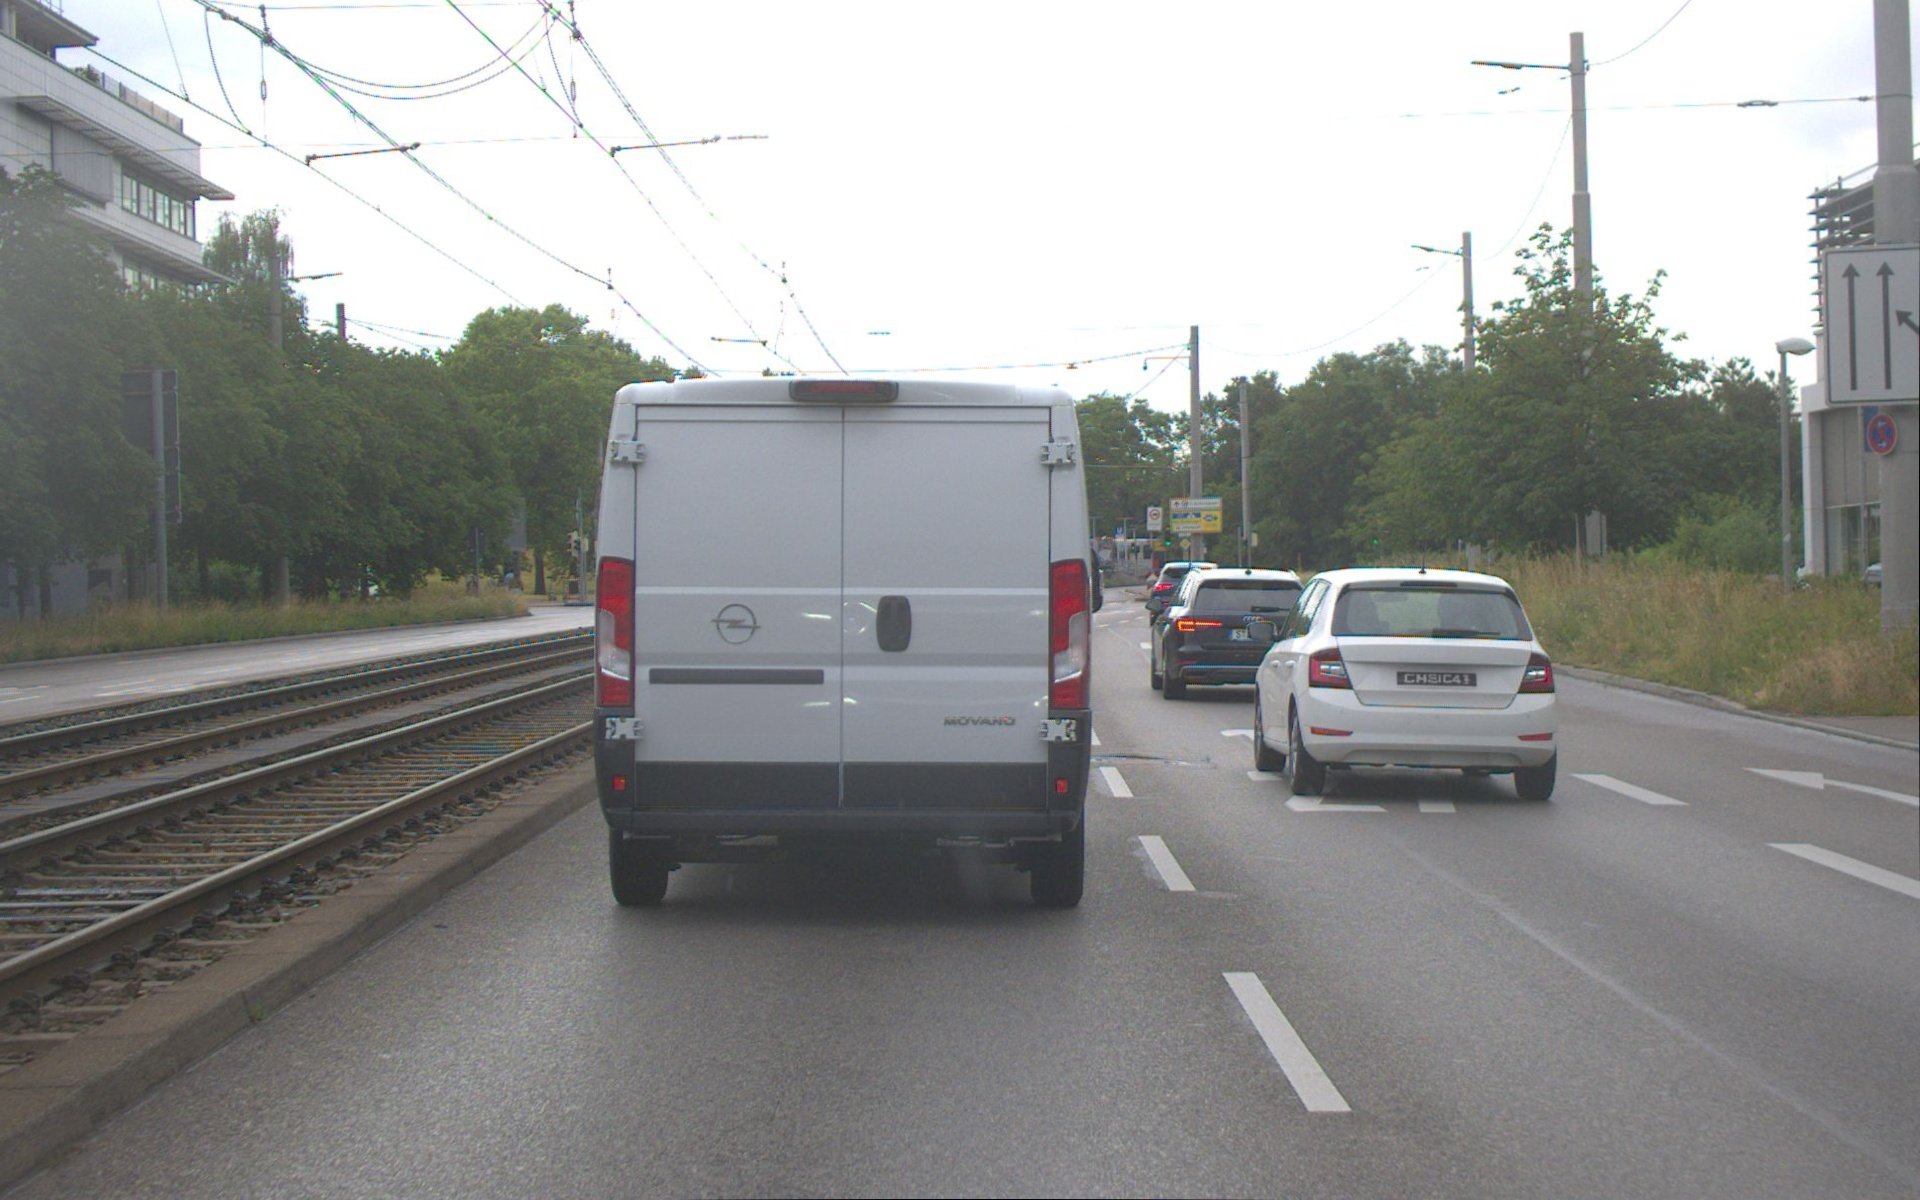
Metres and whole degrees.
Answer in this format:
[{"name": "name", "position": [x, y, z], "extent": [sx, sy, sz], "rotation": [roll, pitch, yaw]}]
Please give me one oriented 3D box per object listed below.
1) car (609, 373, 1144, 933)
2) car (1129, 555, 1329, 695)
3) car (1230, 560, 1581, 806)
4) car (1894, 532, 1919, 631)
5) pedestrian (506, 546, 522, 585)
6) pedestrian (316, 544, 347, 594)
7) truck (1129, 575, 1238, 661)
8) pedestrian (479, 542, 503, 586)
[{"name": "car", "position": [-0.333, 0.167, 16.190], "extent": [2.090, 2.189, 5.061], "rotation": [1, 1, 0]}, {"name": "car", "position": [2.897, 0.252, 37.830], "extent": [1.789, 1.444, 4.000], "rotation": [0, 0, -1]}, {"name": "car", "position": [2.871, 0.487, 22.863], "extent": [1.746, 1.452, 3.671], "rotation": [1, 1, -1]}, {"name": "car", "position": [17.908, -0.400, 57.376], "extent": [4.340, 1.621, 1.856], "rotation": [-3, 0, -29]}, {"name": "pedestrian", "position": [-20.368, -1.566, 157.039], "extent": [0.506, 1.781, 0.832], "rotation": [1, 0, 6]}, {"name": "pedestrian", "position": [-25.662, -1.276, 140.370], "extent": [0.887, 2.007, 0.945], "rotation": [-1, 0, 17]}, {"name": "truck", "position": [4.968, 0.377, 77.052], "extent": [1.993, 1.784, 4.414], "rotation": [-1, 1, -2]}, {"name": "pedestrian", "position": [-21.691, -1.673, 158.994], "extent": [0.887, 2.007, 0.865], "rotation": [-1, 0, 5]}]
